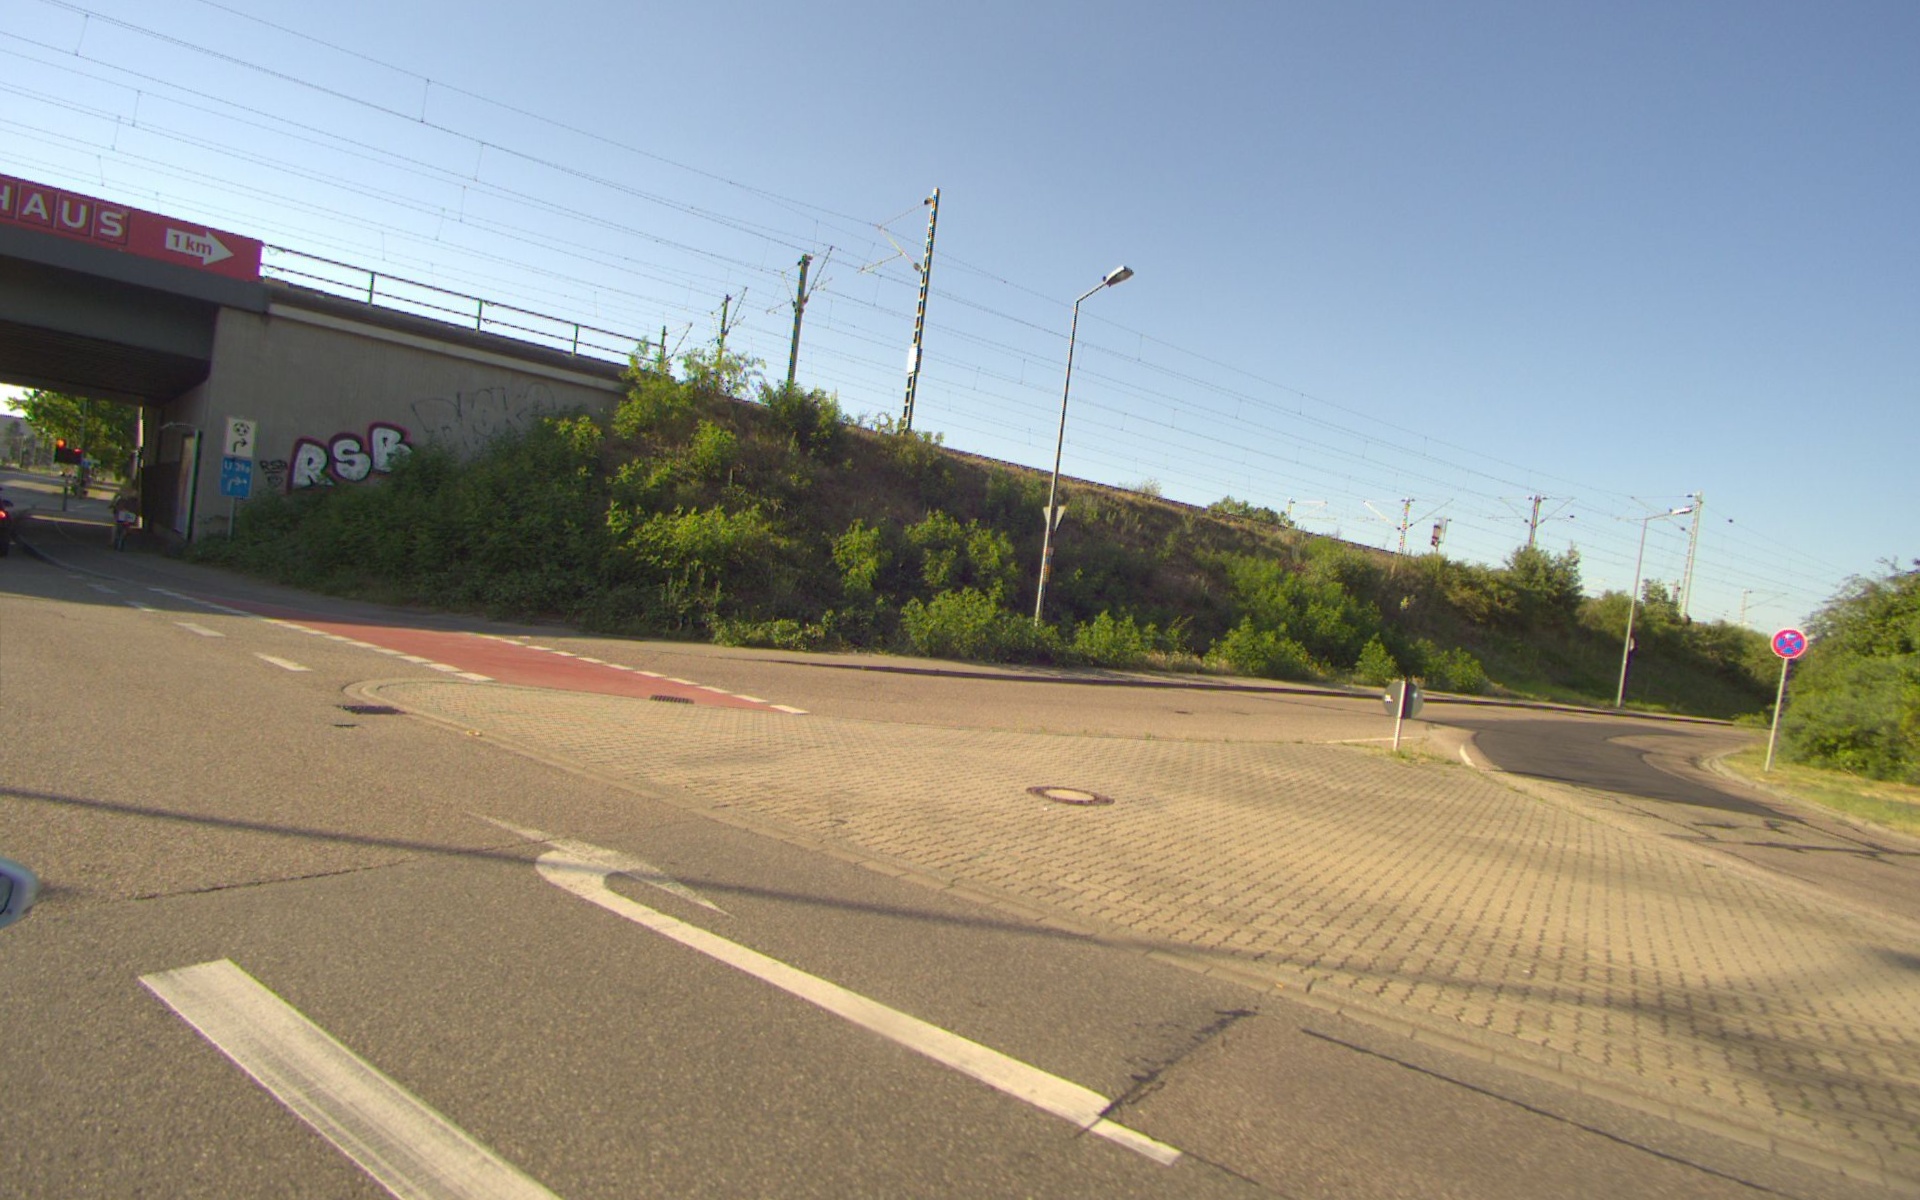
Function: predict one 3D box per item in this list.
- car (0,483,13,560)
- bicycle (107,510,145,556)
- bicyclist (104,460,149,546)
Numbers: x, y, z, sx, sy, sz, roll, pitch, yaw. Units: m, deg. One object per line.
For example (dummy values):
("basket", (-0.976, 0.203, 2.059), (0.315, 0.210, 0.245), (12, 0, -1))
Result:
("car", (-21.230, -1.851, 21.013), (4.542, 1.472, 1.738), (8, 0, 43))
("bicycle", (-20.250, -1.636, 24.417), (0.576, 0.975, 2.853), (6, 0, -41))
("bicyclist", (-20.137, -2.331, 24.303), (0.679, 1.930, 0.823), (6, 0, -41))
